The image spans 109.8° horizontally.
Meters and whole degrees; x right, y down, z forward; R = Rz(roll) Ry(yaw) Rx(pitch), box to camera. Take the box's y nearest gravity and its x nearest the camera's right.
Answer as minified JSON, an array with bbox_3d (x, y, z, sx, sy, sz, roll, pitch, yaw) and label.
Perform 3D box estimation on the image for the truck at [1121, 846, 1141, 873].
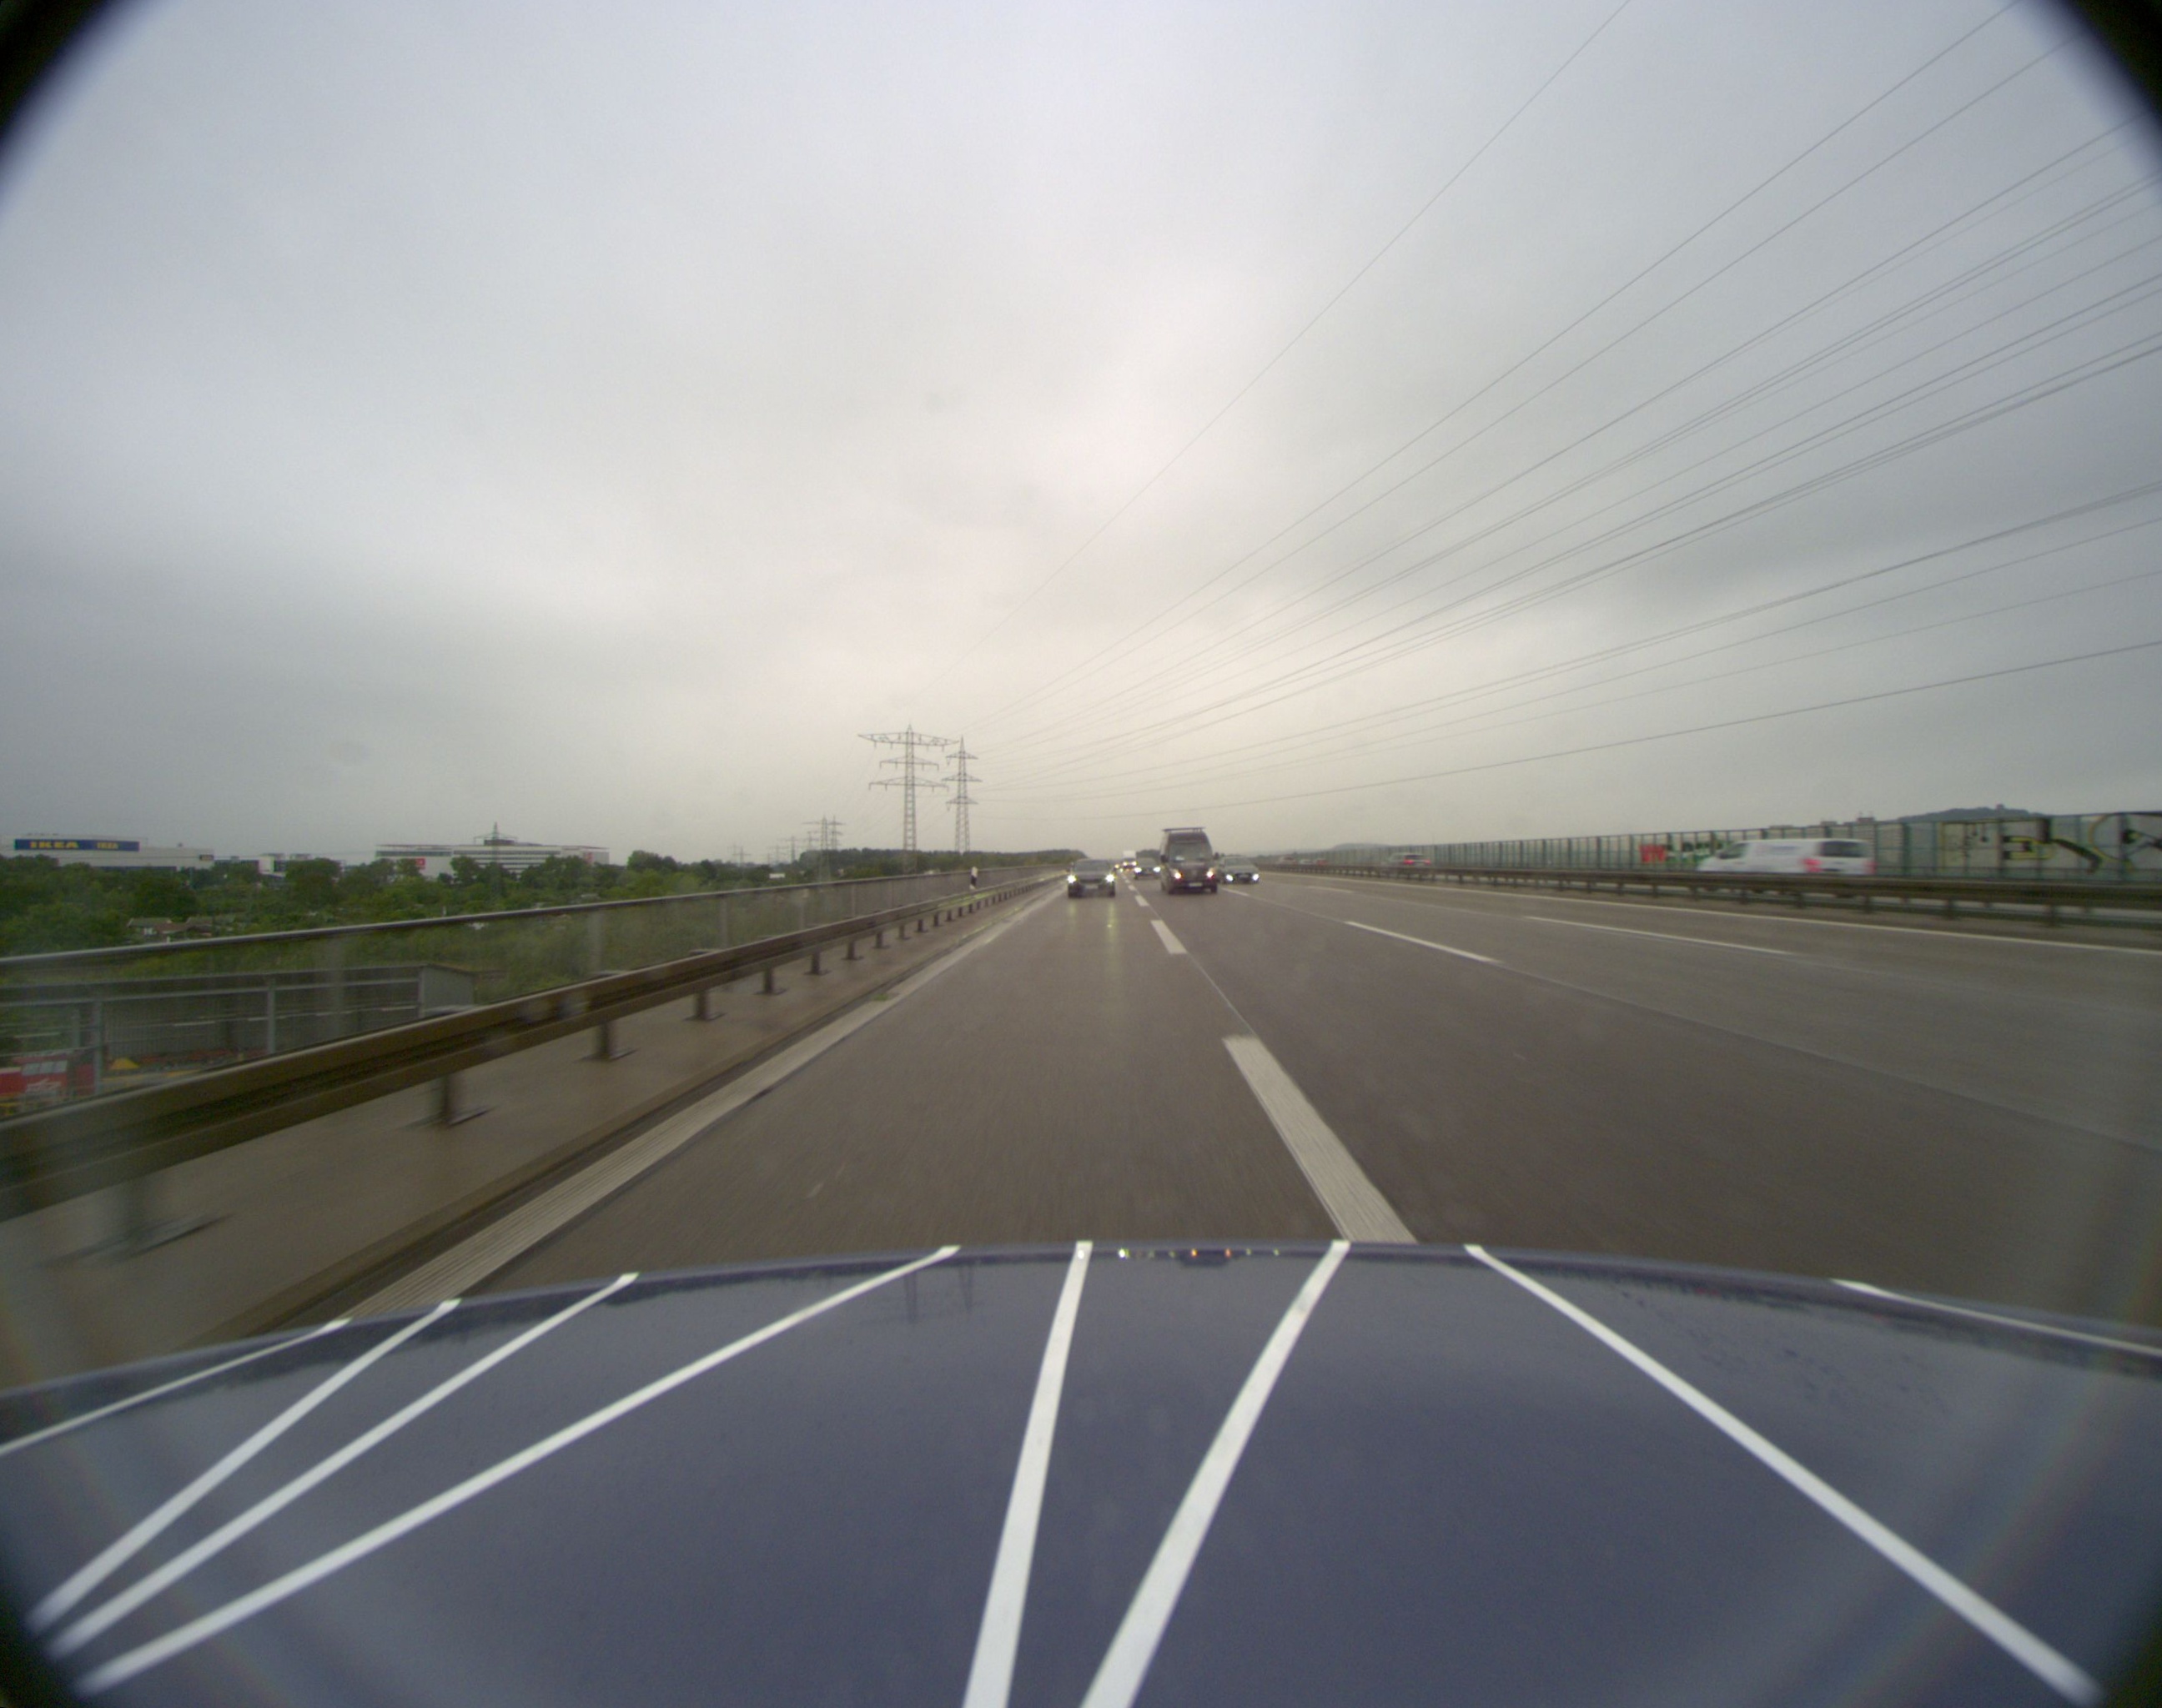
[{"bbox_3d":[8.006,0.907,123.630,2.703,4.171,8.926,-2,-1,1],"label":"truck"}]

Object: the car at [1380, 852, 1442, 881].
[{"bbox_3d":[19.998,0.739,46.277,1.998,1.549,4.214,-2,1,1],"label":"car"}]

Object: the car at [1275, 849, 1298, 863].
[{"bbox_3d":[26.115,0.276,96.639,1.846,1.734,4.468,2,0,1],"label":"car"}]

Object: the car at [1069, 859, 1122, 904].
[{"bbox_3d":[0.563,1.011,29.656,1.862,1.531,4.203,-2,0,1],"label":"car"}]

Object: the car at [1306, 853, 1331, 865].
[{"bbox_3d":[30.318,0.666,97.090,1.846,1.422,4.468,2,0,1],"label":"car"}]

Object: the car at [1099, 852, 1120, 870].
[{"bbox_3d":[2.830,0.699,74.786,1.998,1.706,4.000,1,0,2],"label":"car"}]

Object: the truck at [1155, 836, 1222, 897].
[{"bbox_3d":[4.433,0.432,32.342,1.998,2.324,6.110,-1,1,0],"label":"truck"}]

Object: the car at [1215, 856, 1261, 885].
[{"bbox_3d":[8.388,0.865,40.890,1.729,1.394,4.831,-2,-1,4],"label":"car"}]

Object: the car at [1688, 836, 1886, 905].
[{"bbox_3d":[23.361,0.473,25.481,1.998,2.002,5.011,-2,1,1],"label":"car"}]

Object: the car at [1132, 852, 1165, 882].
[{"bbox_3d":[4.822,0.897,55.062,1.998,2.002,4.785,-2,0,1],"label":"car"}]
